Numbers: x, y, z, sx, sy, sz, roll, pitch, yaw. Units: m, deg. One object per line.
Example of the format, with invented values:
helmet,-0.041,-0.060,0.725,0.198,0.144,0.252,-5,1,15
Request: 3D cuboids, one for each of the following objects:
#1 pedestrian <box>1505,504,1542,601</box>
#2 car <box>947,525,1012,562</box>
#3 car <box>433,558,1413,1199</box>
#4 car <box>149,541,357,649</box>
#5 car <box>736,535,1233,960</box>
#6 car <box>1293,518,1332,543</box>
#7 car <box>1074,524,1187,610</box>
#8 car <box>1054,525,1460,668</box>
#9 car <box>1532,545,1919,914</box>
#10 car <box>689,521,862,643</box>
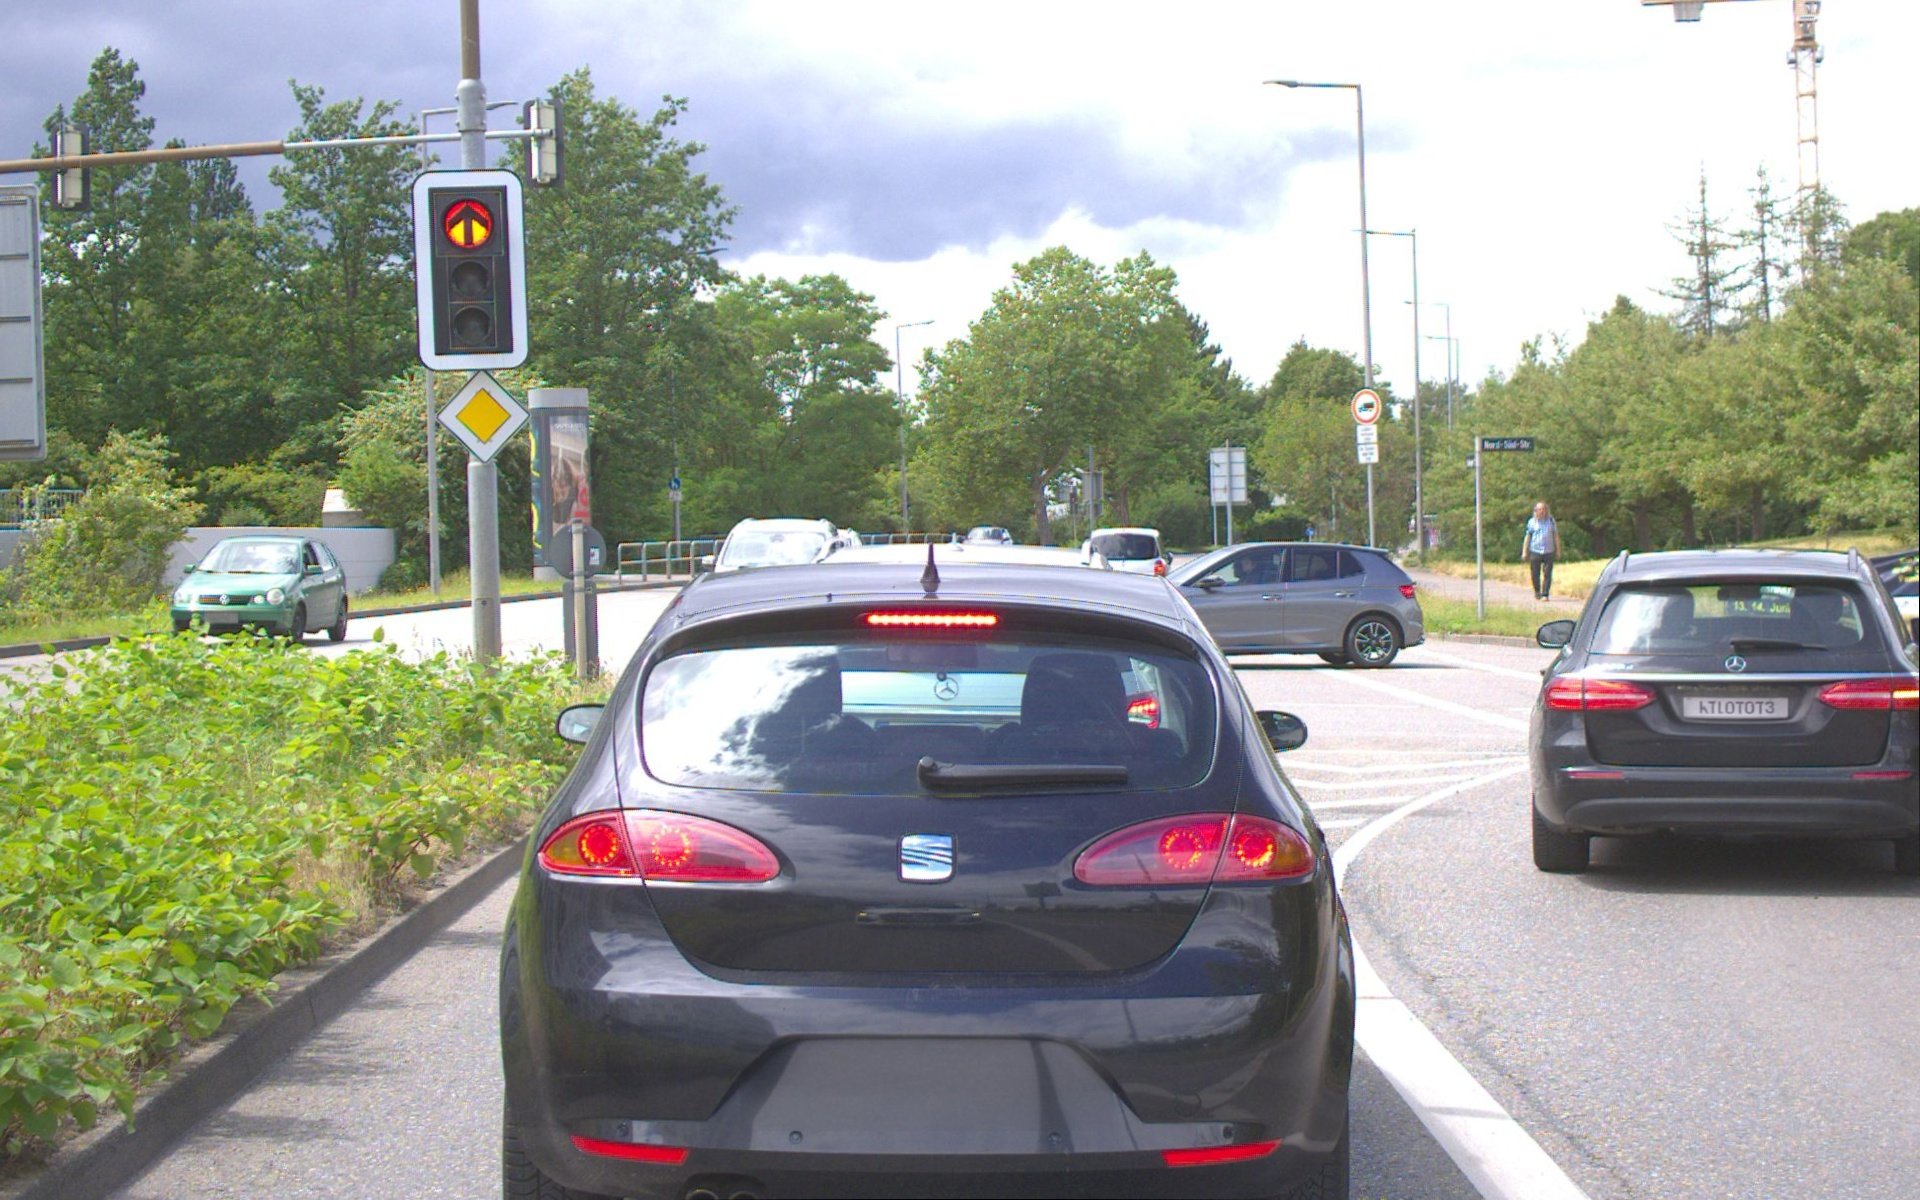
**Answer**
pedestrian,10.048,-0.845,61.304,0.559,1.720,0.588,0,1,1
car,0.750,-2.153,130.065,1.994,1.347,3.999,0,1,8
car,-0.088,0.648,8.033,1.773,1.447,3.582,0,1,-1
car,-9.388,-0.093,45.960,1.993,1.347,4.000,0,1,-1
car,0.007,0.501,14.283,1.773,1.486,3.583,-2,1,-3
car,18.788,-3.706,183.133,1.994,1.347,3.999,0,1,8
car,3.136,-0.637,63.955,1.993,1.525,4.000,0,1,1
car,3.392,-0.057,39.699,4.303,1.520,2.001,-1,1,-9
car,3.763,0.502,16.724,1.873,1.436,5.198,-1,1,10
car,-2.494,-0.280,47.399,1.994,1.590,4.000,0,1,3
